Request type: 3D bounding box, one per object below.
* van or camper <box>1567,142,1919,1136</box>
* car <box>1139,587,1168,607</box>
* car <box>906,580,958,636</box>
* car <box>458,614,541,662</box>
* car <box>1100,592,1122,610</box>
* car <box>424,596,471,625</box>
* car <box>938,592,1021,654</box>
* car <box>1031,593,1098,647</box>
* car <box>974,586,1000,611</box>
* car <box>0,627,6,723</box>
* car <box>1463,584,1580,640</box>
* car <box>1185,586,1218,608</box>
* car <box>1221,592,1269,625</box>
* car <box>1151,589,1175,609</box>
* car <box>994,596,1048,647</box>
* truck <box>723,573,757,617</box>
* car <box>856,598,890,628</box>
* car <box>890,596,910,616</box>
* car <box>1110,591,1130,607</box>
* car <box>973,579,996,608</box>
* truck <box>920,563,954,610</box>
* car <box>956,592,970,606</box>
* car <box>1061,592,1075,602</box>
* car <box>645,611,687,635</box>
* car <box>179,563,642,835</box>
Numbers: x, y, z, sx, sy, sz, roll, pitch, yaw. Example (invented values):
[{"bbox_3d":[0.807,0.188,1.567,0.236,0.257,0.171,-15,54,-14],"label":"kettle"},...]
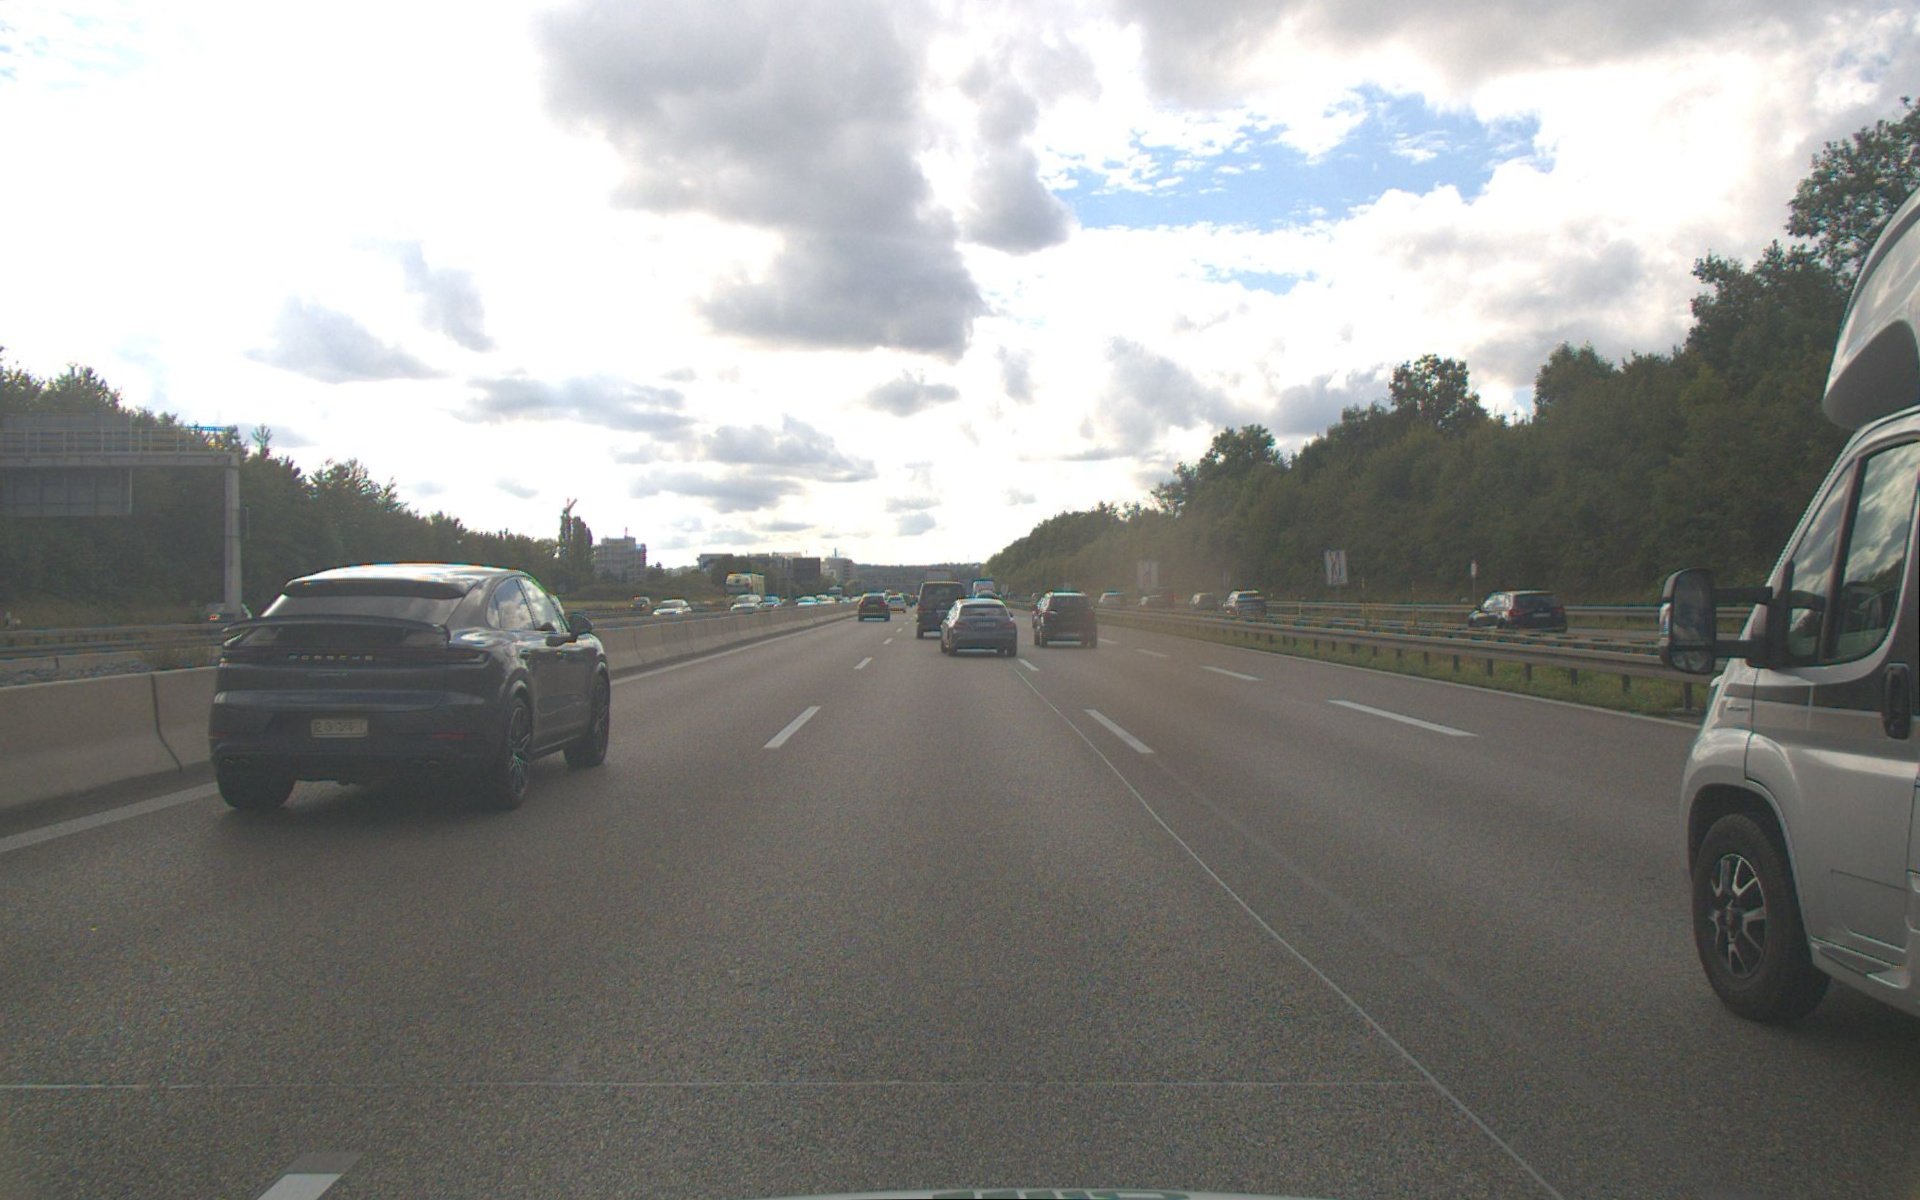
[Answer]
[{"bbox_3d":[3.909,0.121,3.333,2.418,2.769,7.660,0,0,-1],"label":"van or camper"},{"bbox_3d":[14.993,-0.228,128.424,1.563,1.573,4.188,0,0,-3],"label":"car"},{"bbox_3d":[-1.015,0.256,59.713,1.817,1.944,4.259,0,0,-1],"label":"car"},{"bbox_3d":[-16.643,1.338,59.981,1.738,1.588,4.780,-1,0,-2],"label":"car"},{"bbox_3d":[14.564,0.126,159.584,1.716,1.725,4.189,0,0,-1],"label":"car"},{"bbox_3d":[-41.715,0.838,134.785,1.953,2.273,5.890,-1,0,0],"label":"car"},{"bbox_3d":[0.452,0.543,42.856,1.687,1.505,4.386,0,0,-6],"label":"car"},{"bbox_3d":[3.181,0.588,50.957,1.663,1.592,4.112,0,0,-2],"label":"car"},{"bbox_3d":[2.103,-0.128,130.831,1.874,1.952,4.029,0,0,-1],"label":"car"},{"bbox_3d":[-16.236,1.230,24.691,1.702,1.537,4.050,-1,0,-2],"label":"car"},{"bbox_3d":[16.409,0.314,48.582,1.806,1.510,4.525,-3,1,-1],"label":"car"},{"bbox_3d":[18.527,-0.252,126.940,1.694,1.572,4.304,-3,1,-3],"label":"car"},{"bbox_3d":[15.850,0.468,92.131,1.809,1.678,4.305,-3,1,-1],"label":"car"},{"bbox_3d":[18.416,-0.111,150.291,1.563,1.835,3.823,0,0,-3],"label":"car"},{"bbox_3d":[2.173,0.728,59.493,1.686,1.754,4.390,0,0,-1],"label":"car"},{"bbox_3d":[-22.474,-0.492,169.250,2.838,4.399,5.161,-1,0,-1],"label":"truck"},{"bbox_3d":[-5.122,0.771,97.624,1.835,1.727,4.071,0,0,-1],"label":"car"},{"bbox_3d":[-5.062,0.495,139.756,1.663,1.639,4.112,0,0,-2],"label":"car"},{"bbox_3d":[17.868,-0.111,184.758,1.716,1.725,4.189,0,0,-1],"label":"car"},{"bbox_3d":[2.029,-0.524,137.879,1.835,2.399,4.281,0,0,-1],"label":"car"},{"bbox_3d":[-2.276,-1.360,163.337,3.197,4.451,11.024,0,0,-1],"label":"truck"},{"bbox_3d":[0.343,-0.125,218.449,1.716,1.725,4.189,0,0,-1],"label":"car"},{"bbox_3d":[16.434,-0.461,251.734,1.717,1.543,4.188,0,0,-2],"label":"car"},{"bbox_3d":[-17.175,1.316,96.826,1.735,1.317,4.674,0,0,-1],"label":"car"},{"bbox_3d":[-3.907,0.591,12.932,1.873,1.664,5.499,0,0,-1],"label":"car"}]
